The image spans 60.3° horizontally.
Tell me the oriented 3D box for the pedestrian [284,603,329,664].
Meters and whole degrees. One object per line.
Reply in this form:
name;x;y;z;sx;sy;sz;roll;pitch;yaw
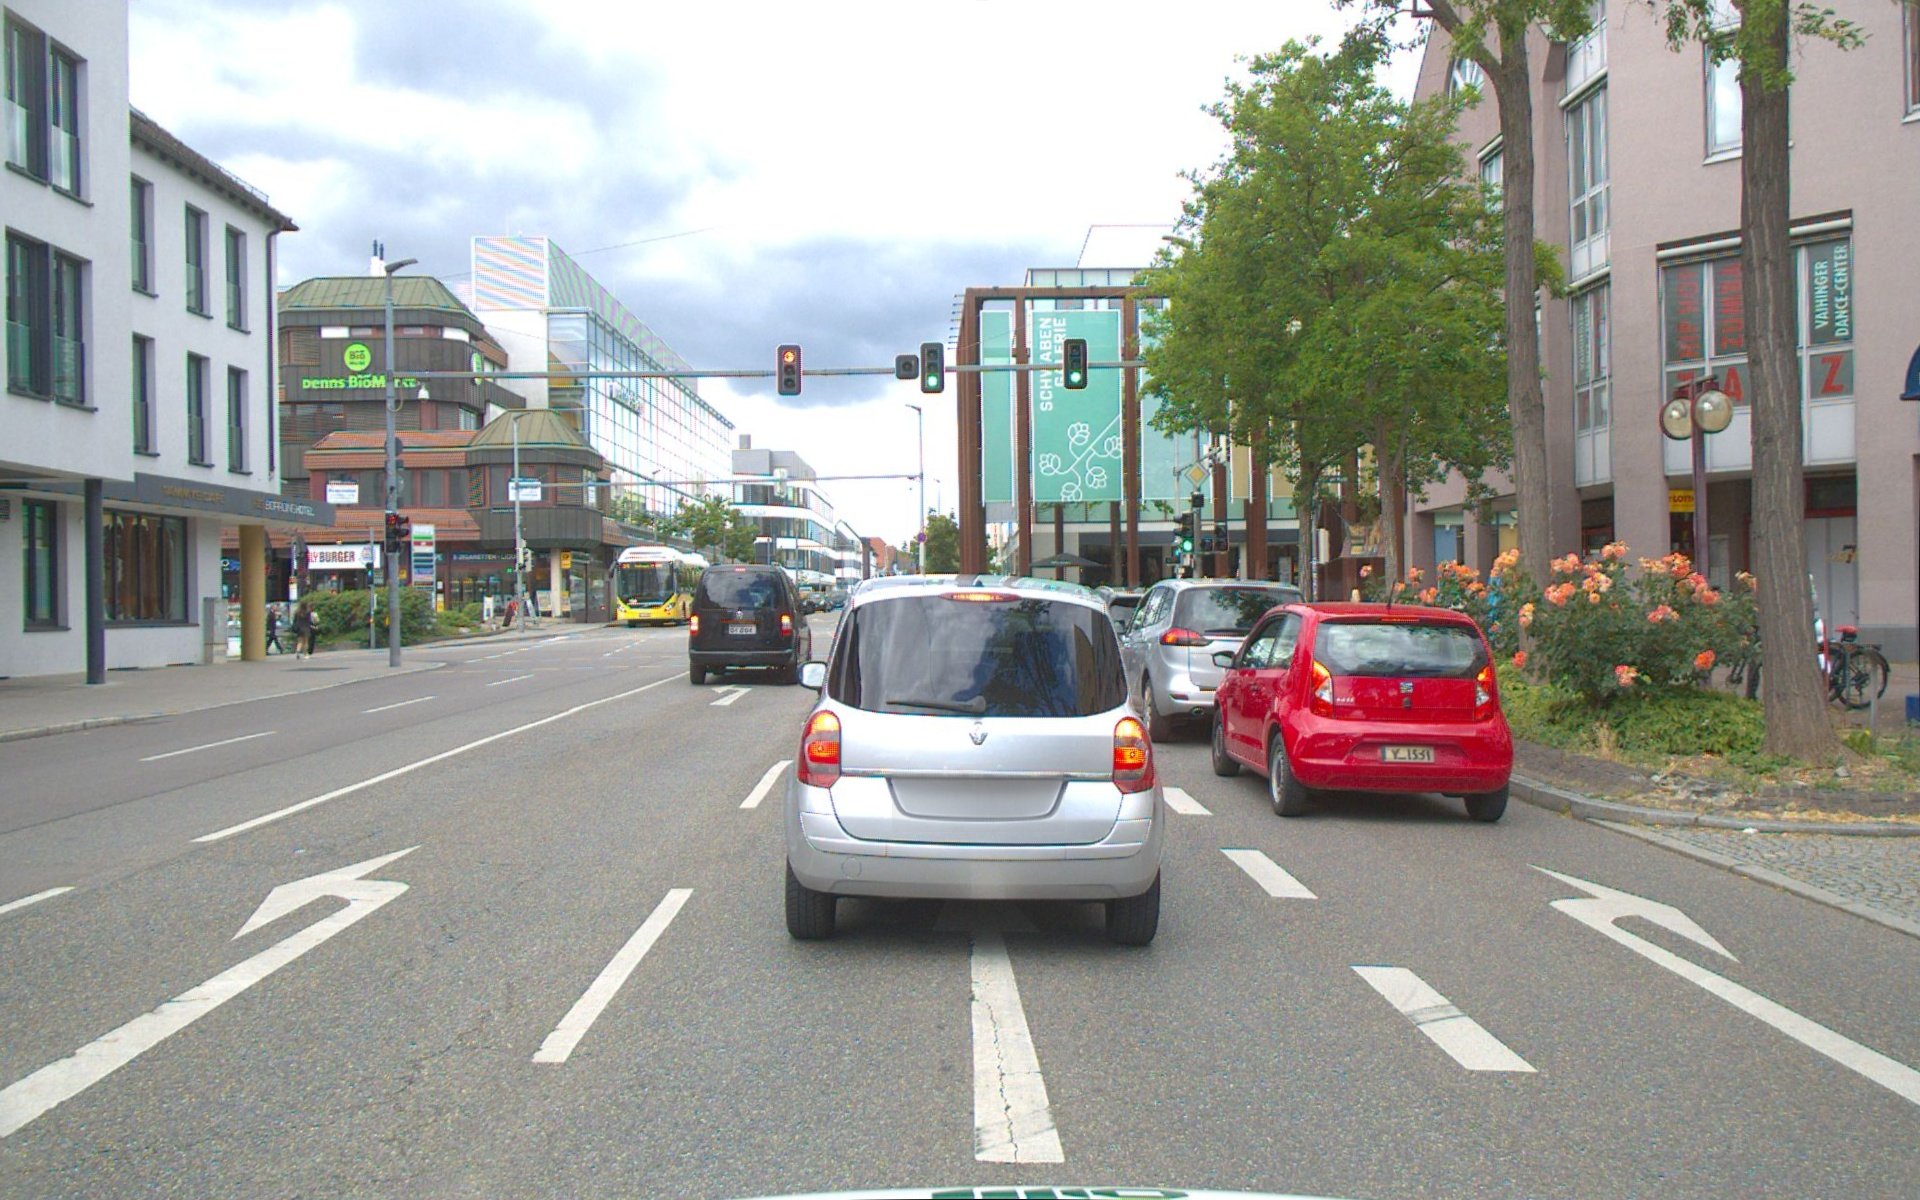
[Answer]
pedestrian;-19.545;0.988;49.464;0.928;1.786;0.945;-1;0;0

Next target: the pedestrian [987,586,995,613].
pedestrian;1.814;-0.043;96.481;0.418;1.576;0.481;-1;0;-3

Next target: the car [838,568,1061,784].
car;-0.102;0.557;14.161;1.636;1.581;3.641;1;0;-1

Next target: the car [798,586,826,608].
car;-10.650;-0.221;119.183;1.626;1.491;4.000;-2;0;-1

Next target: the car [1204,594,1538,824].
car;2.979;0.713;12.715;1.593;1.473;3.641;1;0;-1

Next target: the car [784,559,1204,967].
car;0.111;0.636;8.367;1.636;1.581;3.641;1;0;-1

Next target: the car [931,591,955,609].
car;-1.362;-0.036;132.339;1.839;1.358;4.000;1;0;0

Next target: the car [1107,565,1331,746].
car;2.713;0.526;18.284;1.704;1.730;4.380;1;0;-1

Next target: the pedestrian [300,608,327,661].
pedestrian;-20.206;1.070;51.723;0.625;1.615;0.526;-1;0;0

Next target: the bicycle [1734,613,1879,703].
bicycle;10.454;0.698;20.456;1.541;1.067;0.404;-1;0;41

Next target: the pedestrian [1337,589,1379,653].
pedestrian;11.297;0.583;46.989;0.861;1.798;1.119;-1;0;-4

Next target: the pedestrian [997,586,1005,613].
pedestrian;2.399;-0.035;96.590;0.418;1.576;0.481;-1;0;-3

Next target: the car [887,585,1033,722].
car;-0.027;0.600;20.596;1.636;1.521;3.641;1;0;-1

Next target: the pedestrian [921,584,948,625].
pedestrian;-1.028;0.178;66.684;0.854;1.675;0.678;0;0;33

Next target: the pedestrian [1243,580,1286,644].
pedestrian;8.285;0.311;45.043;0.861;1.711;1.119;-1;0;-4

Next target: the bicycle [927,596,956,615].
bicycle;-0.976;0.285;88.060;1.528;1.010;0.752;-1;0;2

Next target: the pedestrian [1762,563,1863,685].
pedestrian;11.946;0.316;23.214;0.792;1.654;1.093;-1;0;-3

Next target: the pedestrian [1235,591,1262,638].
pedestrian;10.443;0.526;59.938;0.727;1.654;0.953;-1;0;-4

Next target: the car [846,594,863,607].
car;-12.132;0.053;190.441;1.626;1.491;4.000;-2;0;-1

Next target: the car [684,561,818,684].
car;-3.376;0.330;27.472;1.673;1.852;4.571;1;0;-1

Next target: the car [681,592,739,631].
car;-10.038;0.449;66.713;1.723;1.474;4.035;-1;0;-1

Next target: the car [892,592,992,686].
car;-0.321;0.631;29.253;1.636;1.521;3.641;1;0;-1

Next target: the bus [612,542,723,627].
bus;-13.109;-0.689;75.321;2.927;3.385;12.303;-3;1;-1

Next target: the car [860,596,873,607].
car;-12.941;0.201;229.027;1.626;1.491;4.000;-2;0;-1

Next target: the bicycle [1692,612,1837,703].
bicycle;9.819;0.686;20.225;1.541;1.067;0.404;-1;0;41

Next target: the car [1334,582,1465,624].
car;15.299;0.100;57.675;4.090;1.428;1.799;0;0;-4

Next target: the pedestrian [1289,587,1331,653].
pedestrian;9.689;0.539;45.842;0.861;1.798;1.119;-1;0;-4

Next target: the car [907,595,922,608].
car;-5.199;0.175;191.021;1.626;1.491;4.000;-2;0;-1

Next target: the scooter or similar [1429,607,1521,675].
scooter or similar;8.680;0.676;27.944;0.462;1.106;1.878;-1;0;-18

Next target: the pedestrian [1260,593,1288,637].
pedestrian;11.719;0.550;61.745;0.805;1.623;1.039;0;0;-1

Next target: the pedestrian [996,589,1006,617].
pedestrian;1.844;0.143;74.535;0.438;1.241;0.607;-1;0;2

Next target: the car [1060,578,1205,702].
car;2.591;0.555;25.772;1.704;1.730;4.380;1;0;-1

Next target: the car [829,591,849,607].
car;-11.813;-0.063;161.457;1.626;1.491;4.000;-2;0;-1

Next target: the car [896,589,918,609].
car;-4.114;-0.068;128.589;1.626;1.491;4.000;-2;0;-1
